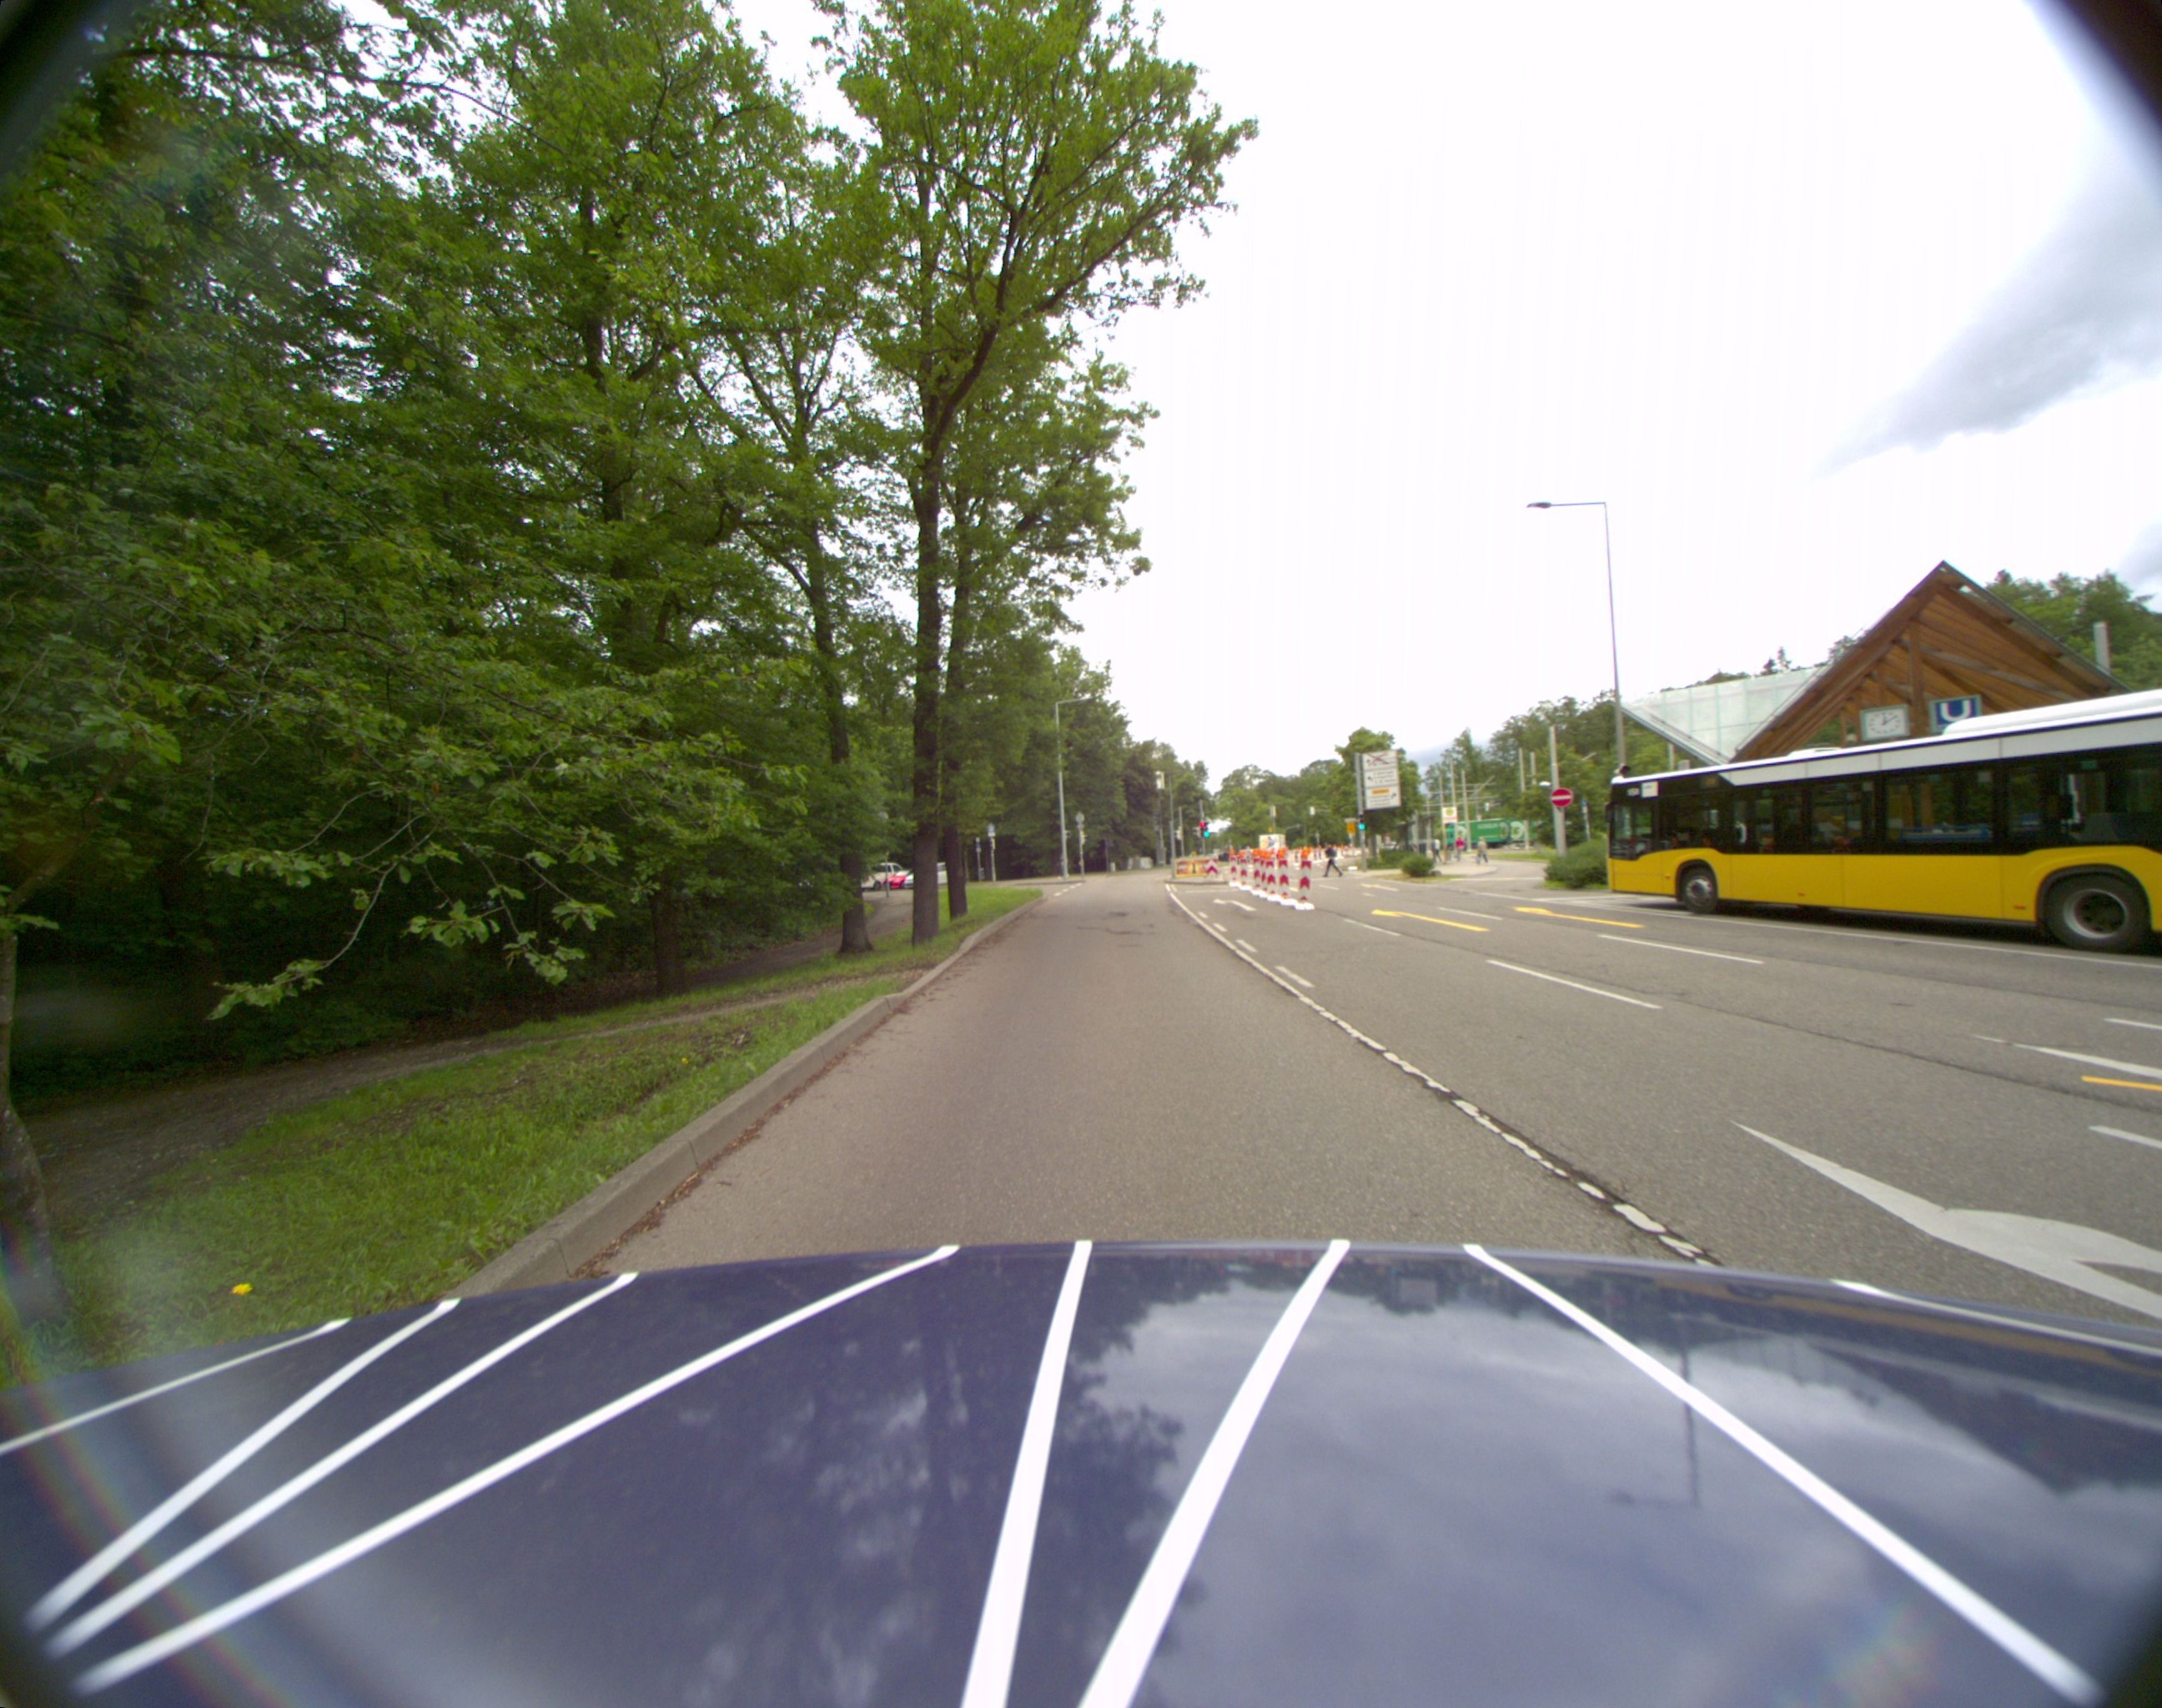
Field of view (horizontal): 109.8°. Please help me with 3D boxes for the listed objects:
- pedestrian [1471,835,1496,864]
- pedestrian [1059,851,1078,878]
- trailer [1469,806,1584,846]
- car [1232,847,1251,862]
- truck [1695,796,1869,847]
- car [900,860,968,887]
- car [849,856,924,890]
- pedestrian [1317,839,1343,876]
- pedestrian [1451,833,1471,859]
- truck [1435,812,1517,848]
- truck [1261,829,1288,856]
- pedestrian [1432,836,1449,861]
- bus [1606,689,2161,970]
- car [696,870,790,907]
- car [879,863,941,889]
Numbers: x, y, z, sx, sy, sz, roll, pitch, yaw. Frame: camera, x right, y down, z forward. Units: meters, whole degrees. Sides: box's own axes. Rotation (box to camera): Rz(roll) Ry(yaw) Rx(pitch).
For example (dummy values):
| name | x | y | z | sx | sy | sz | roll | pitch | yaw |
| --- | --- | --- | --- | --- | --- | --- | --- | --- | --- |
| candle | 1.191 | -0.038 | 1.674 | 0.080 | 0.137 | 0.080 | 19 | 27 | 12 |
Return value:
| name | x | y | z | sx | sy | sz | roll | pitch | yaw |
| --- | --- | --- | --- | --- | --- | --- | --- | --- | --- |
| pedestrian | 22.235 | -0.222 | 41.953 | 0.769 | 1.516 | 0.874 | -4 | 0 | -34 |
| pedestrian | -0.784 | 0.646 | 47.574 | 1.093 | 1.666 | 0.911 | -3 | 1 | 0 |
| trailer | 53.384 | -3.232 | 91.606 | 3.792 | 3.858 | 11.850 | -4 | -1 | -23 |
| car | 17.266 | 0.018 | 82.025 | 1.811 | 1.500 | 4.310 | -2 | 1 | 10 |
| truck | 37.173 | -1.644 | 40.609 | 2.609 | 2.157 | 6.295 | -4 | -1 | -17 |
| car | -10.154 | 1.340 | 52.789 | 1.995 | 1.543 | 4.429 | -5 | -1 | 35 |
| car | -14.203 | 1.373 | 55.836 | 2.058 | 1.946 | 5.191 | -4 | 1 | 31 |
| pedestrian | 12.545 | 0.176 | 38.284 | 0.992 | 1.798 | 0.767 | -4 | 0 | 32 |
| pedestrian | 23.324 | -0.470 | 46.654 | 0.791 | 1.542 | 0.776 | -4 | 0 | 12 |
| truck | 50.703 | -2.969 | 97.915 | 3.792 | 3.858 | 8.758 | -4 | 0 | -23 |
| truck | 24.363 | -1.384 | 95.480 | 2.631 | 3.219 | 6.215 | -1 | 1 | 20 |
| pedestrian | 22.972 | -0.381 | 48.587 | 0.775 | 1.537 | 0.629 | -4 | 1 | 14 |
| bus | 13.473 | -0.335 | 12.561 | 2.906 | 3.109 | 9.759 | -2 | 0 | 1 |
| car | -20.778 | 2.119 | 46.990 | 1.995 | 1.867 | 4.958 | -4 | -1 | 30 |
| car | -12.139 | 1.534 | 54.189 | 1.890 | 1.543 | 4.007 | -5 | -1 | 35 |
